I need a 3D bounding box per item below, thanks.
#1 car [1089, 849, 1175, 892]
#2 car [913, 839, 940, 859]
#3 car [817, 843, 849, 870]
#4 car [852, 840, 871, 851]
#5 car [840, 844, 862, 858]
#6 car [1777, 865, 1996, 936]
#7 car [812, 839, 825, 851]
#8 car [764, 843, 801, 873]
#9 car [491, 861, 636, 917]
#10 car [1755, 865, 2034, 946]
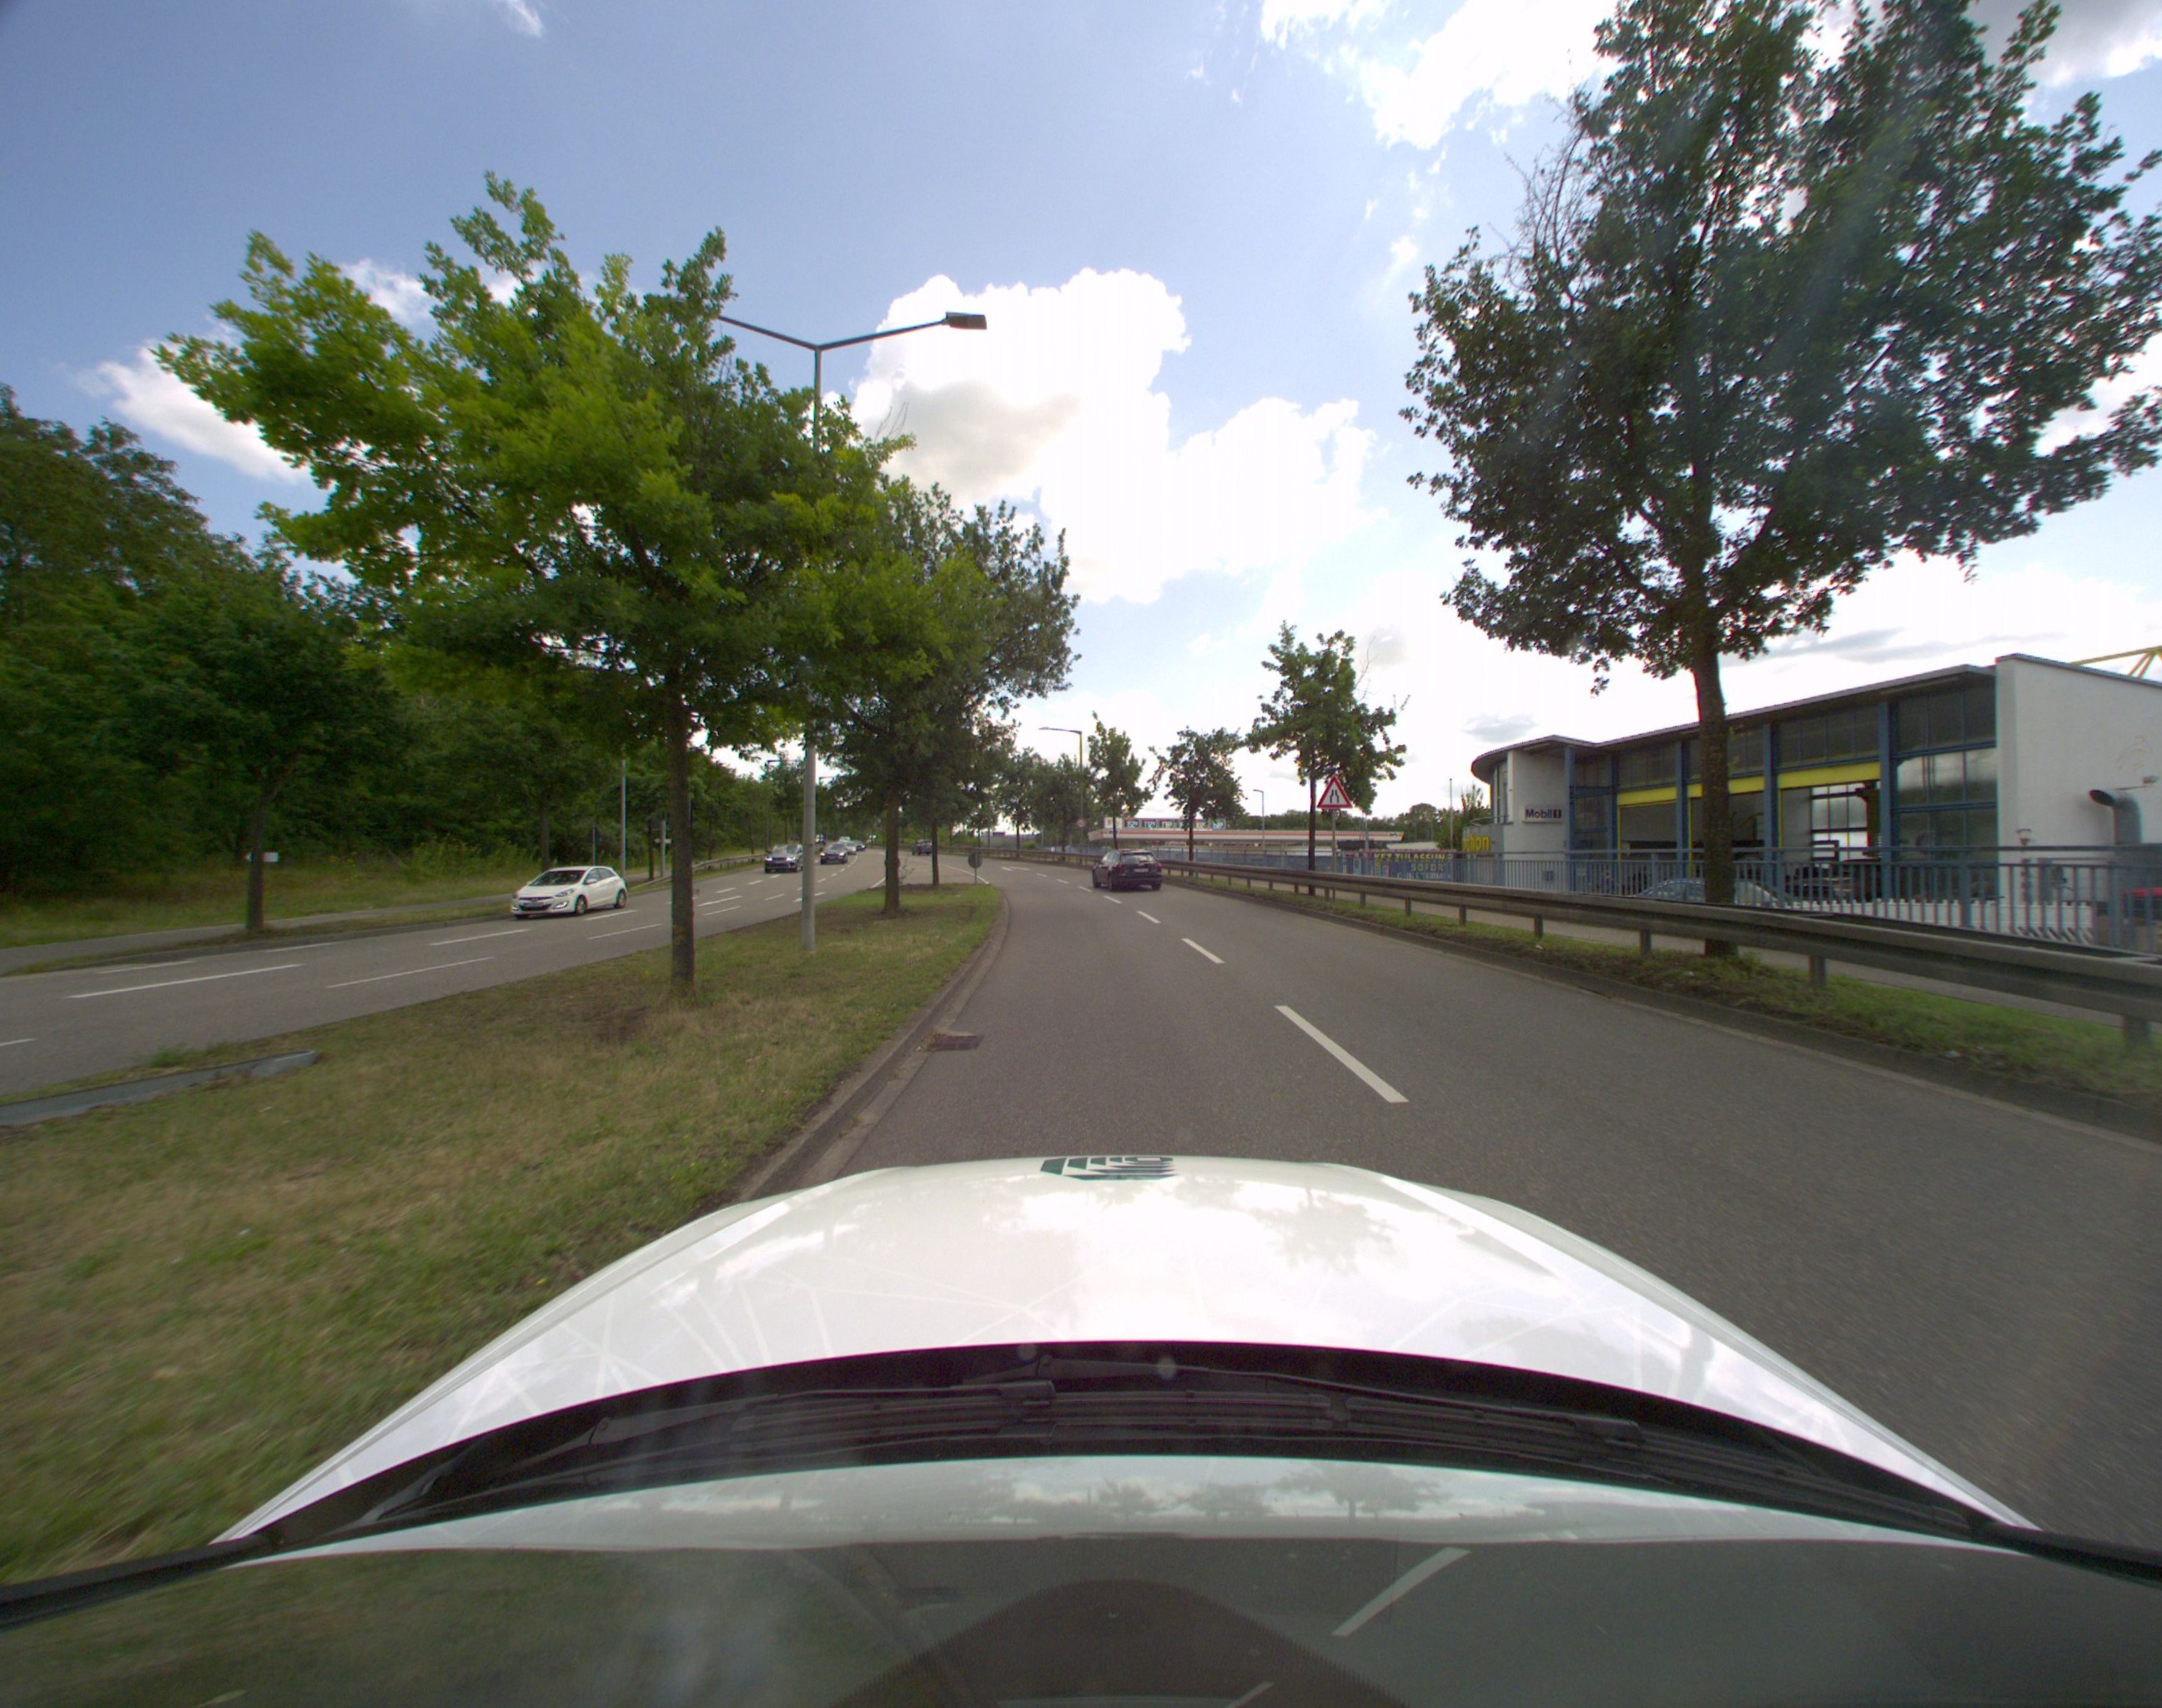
[{"bbox_3d":[1.743,0.546,29.500,1.994,1.390,4.558,2,0,-11],"label":"car"},{"bbox_3d":[-16.493,-0.508,86.664,2.000,2.037,4.680,1,-2,-20],"label":"car"},{"bbox_3d":[-19.751,0.181,65.069,1.994,2.013,4.800,0,2,-11],"label":"car"},{"bbox_3d":[-28.342,-1.117,105.104,1.904,1.363,4.560,-2,1,-10],"label":"car"},{"bbox_3d":[-25.231,-0.378,89.506,1.994,1.396,4.682,0,1,-11],"label":"car"},{"bbox_3d":[24.721,1.400,25.130,4.762,2.013,2.230,1,0,-4],"label":"car"},{"bbox_3d":[-48.641,-1.690,150.978,1.997,2.013,4.535,1,1,-15],"label":"car"},{"bbox_3d":[-19.189,0.257,52.503,1.998,1.861,4.687,0,0,-17],"label":"car"},{"bbox_3d":[-15.880,1.025,25.305,1.990,1.532,4.323,-2,-1,-5],"label":"car"},{"bbox_3d":[21.605,1.337,21.751,5.798,2.014,2.226,1,-2,-8],"label":"car"}]
